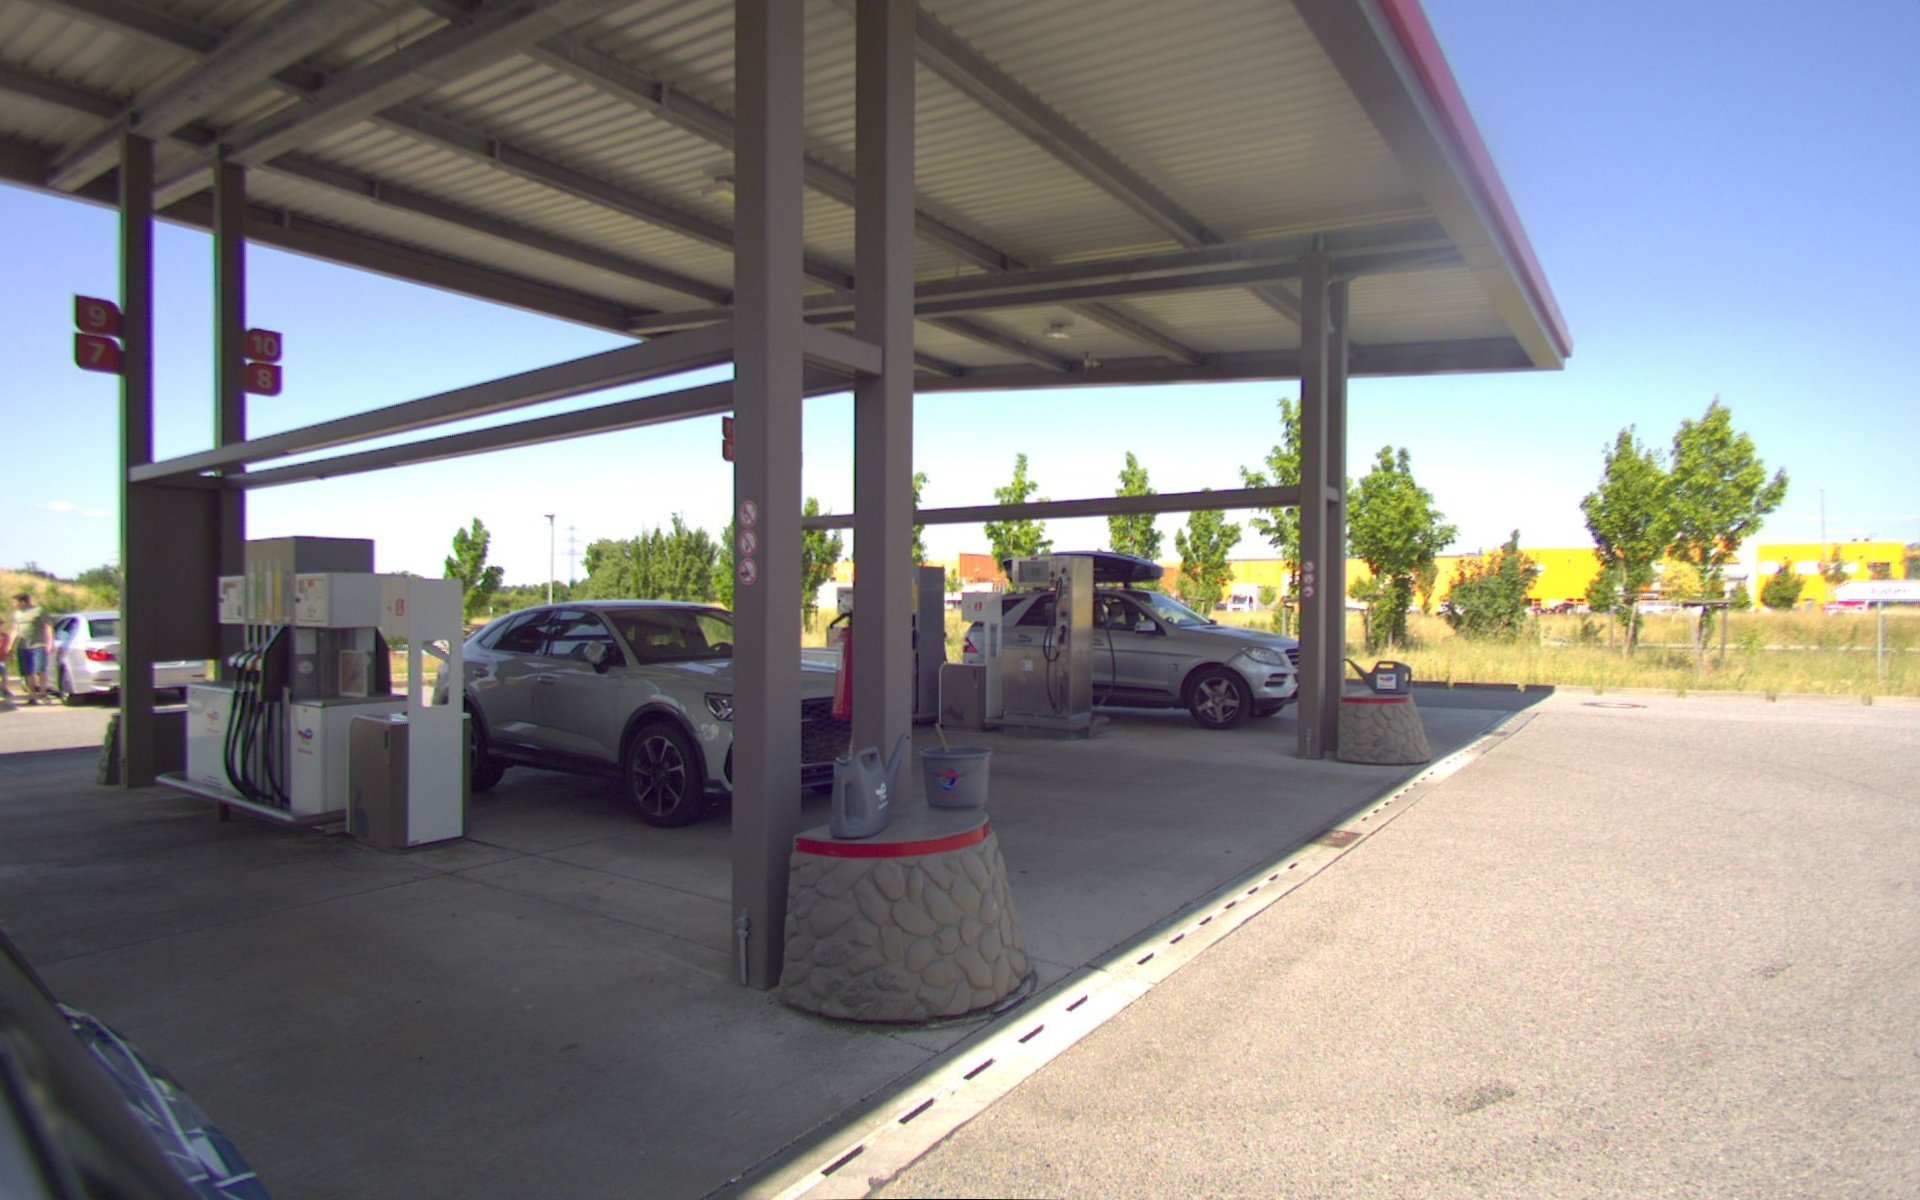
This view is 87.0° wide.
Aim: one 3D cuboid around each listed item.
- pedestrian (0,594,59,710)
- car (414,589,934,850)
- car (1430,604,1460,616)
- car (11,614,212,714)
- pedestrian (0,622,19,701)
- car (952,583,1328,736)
[{"bbox_3d":[-14.679,0.793,15.873,0.844,1.762,0.700,-1,-1,39],"label":"pedestrian"},{"bbox_3d":[-2.435,0.746,8.052,4.318,1.553,1.764,-1,-1,37],"label":"car"},{"bbox_3d":[56.052,1.179,116.935,2.942,1.309,1.467,-1,-1,39],"label":"car"},{"bbox_3d":[-14.522,0.988,17.249,4.316,1.439,1.770,0,0,38],"label":"car"},{"bbox_3d":[-16.163,1.023,16.894,0.668,1.316,0.570,-1,-1,39],"label":"pedestrian"},{"bbox_3d":[2.281,0.704,13.303,4.522,1.700,1.845,-1,-1,33],"label":"car"}]
